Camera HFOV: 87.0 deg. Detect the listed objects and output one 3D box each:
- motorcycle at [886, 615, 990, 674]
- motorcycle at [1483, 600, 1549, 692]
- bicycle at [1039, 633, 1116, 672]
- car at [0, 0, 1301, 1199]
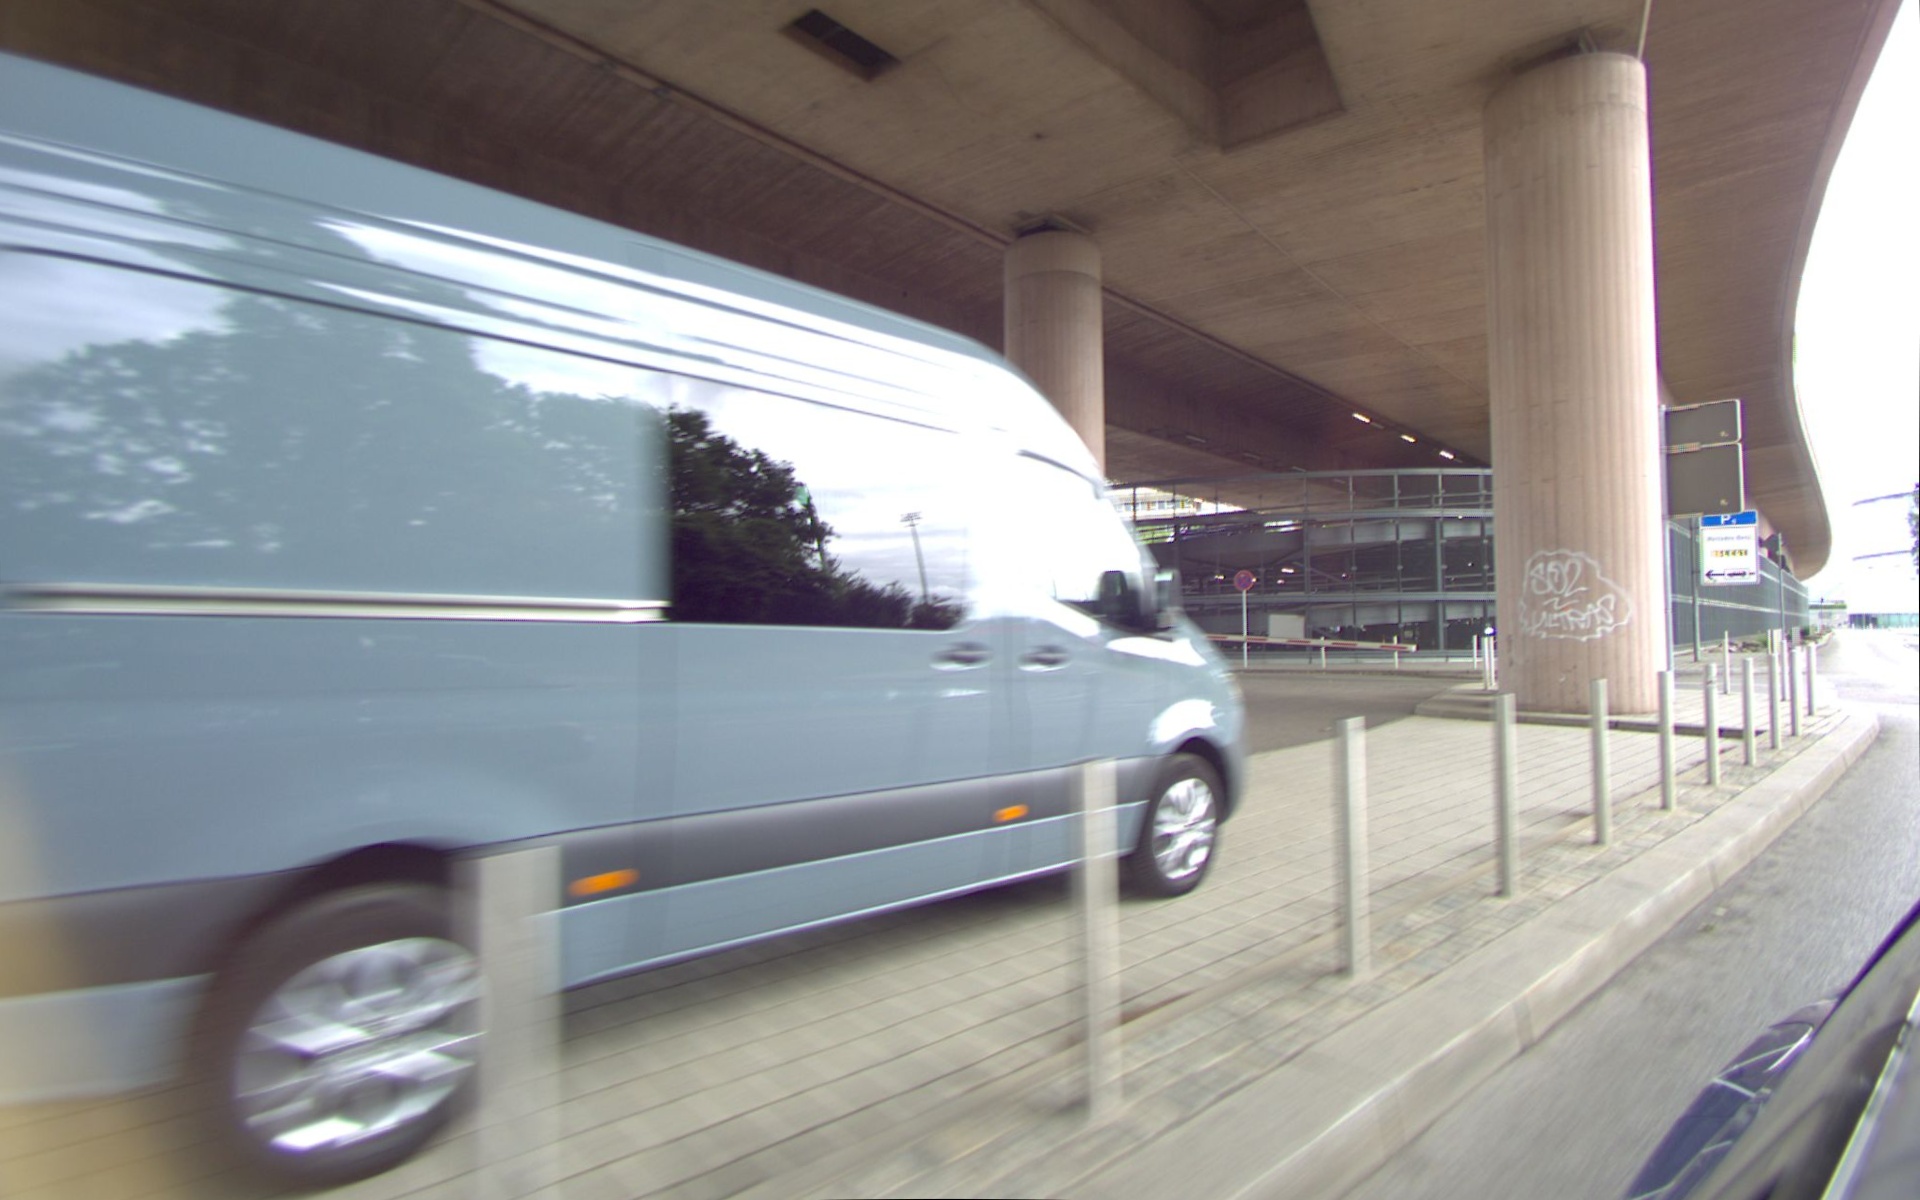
[{"bbox_3d":[-0.468,1.017,22.927,2.494,1.251,0.782,4,-3,-45],"label":"motorcycle"},{"bbox_3d":[9.039,0.723,16.519,0.790,1.384,2.111,0,-1,25],"label":"motorcycle"},{"bbox_3d":[2.965,1.316,25.670,2.005,0.938,0.414,-1,-3,34],"label":"bicycle"},{"bbox_3d":[-0.920,0.094,4.321,5.973,2.646,1.995,1,-1,-44],"label":"car"}]
